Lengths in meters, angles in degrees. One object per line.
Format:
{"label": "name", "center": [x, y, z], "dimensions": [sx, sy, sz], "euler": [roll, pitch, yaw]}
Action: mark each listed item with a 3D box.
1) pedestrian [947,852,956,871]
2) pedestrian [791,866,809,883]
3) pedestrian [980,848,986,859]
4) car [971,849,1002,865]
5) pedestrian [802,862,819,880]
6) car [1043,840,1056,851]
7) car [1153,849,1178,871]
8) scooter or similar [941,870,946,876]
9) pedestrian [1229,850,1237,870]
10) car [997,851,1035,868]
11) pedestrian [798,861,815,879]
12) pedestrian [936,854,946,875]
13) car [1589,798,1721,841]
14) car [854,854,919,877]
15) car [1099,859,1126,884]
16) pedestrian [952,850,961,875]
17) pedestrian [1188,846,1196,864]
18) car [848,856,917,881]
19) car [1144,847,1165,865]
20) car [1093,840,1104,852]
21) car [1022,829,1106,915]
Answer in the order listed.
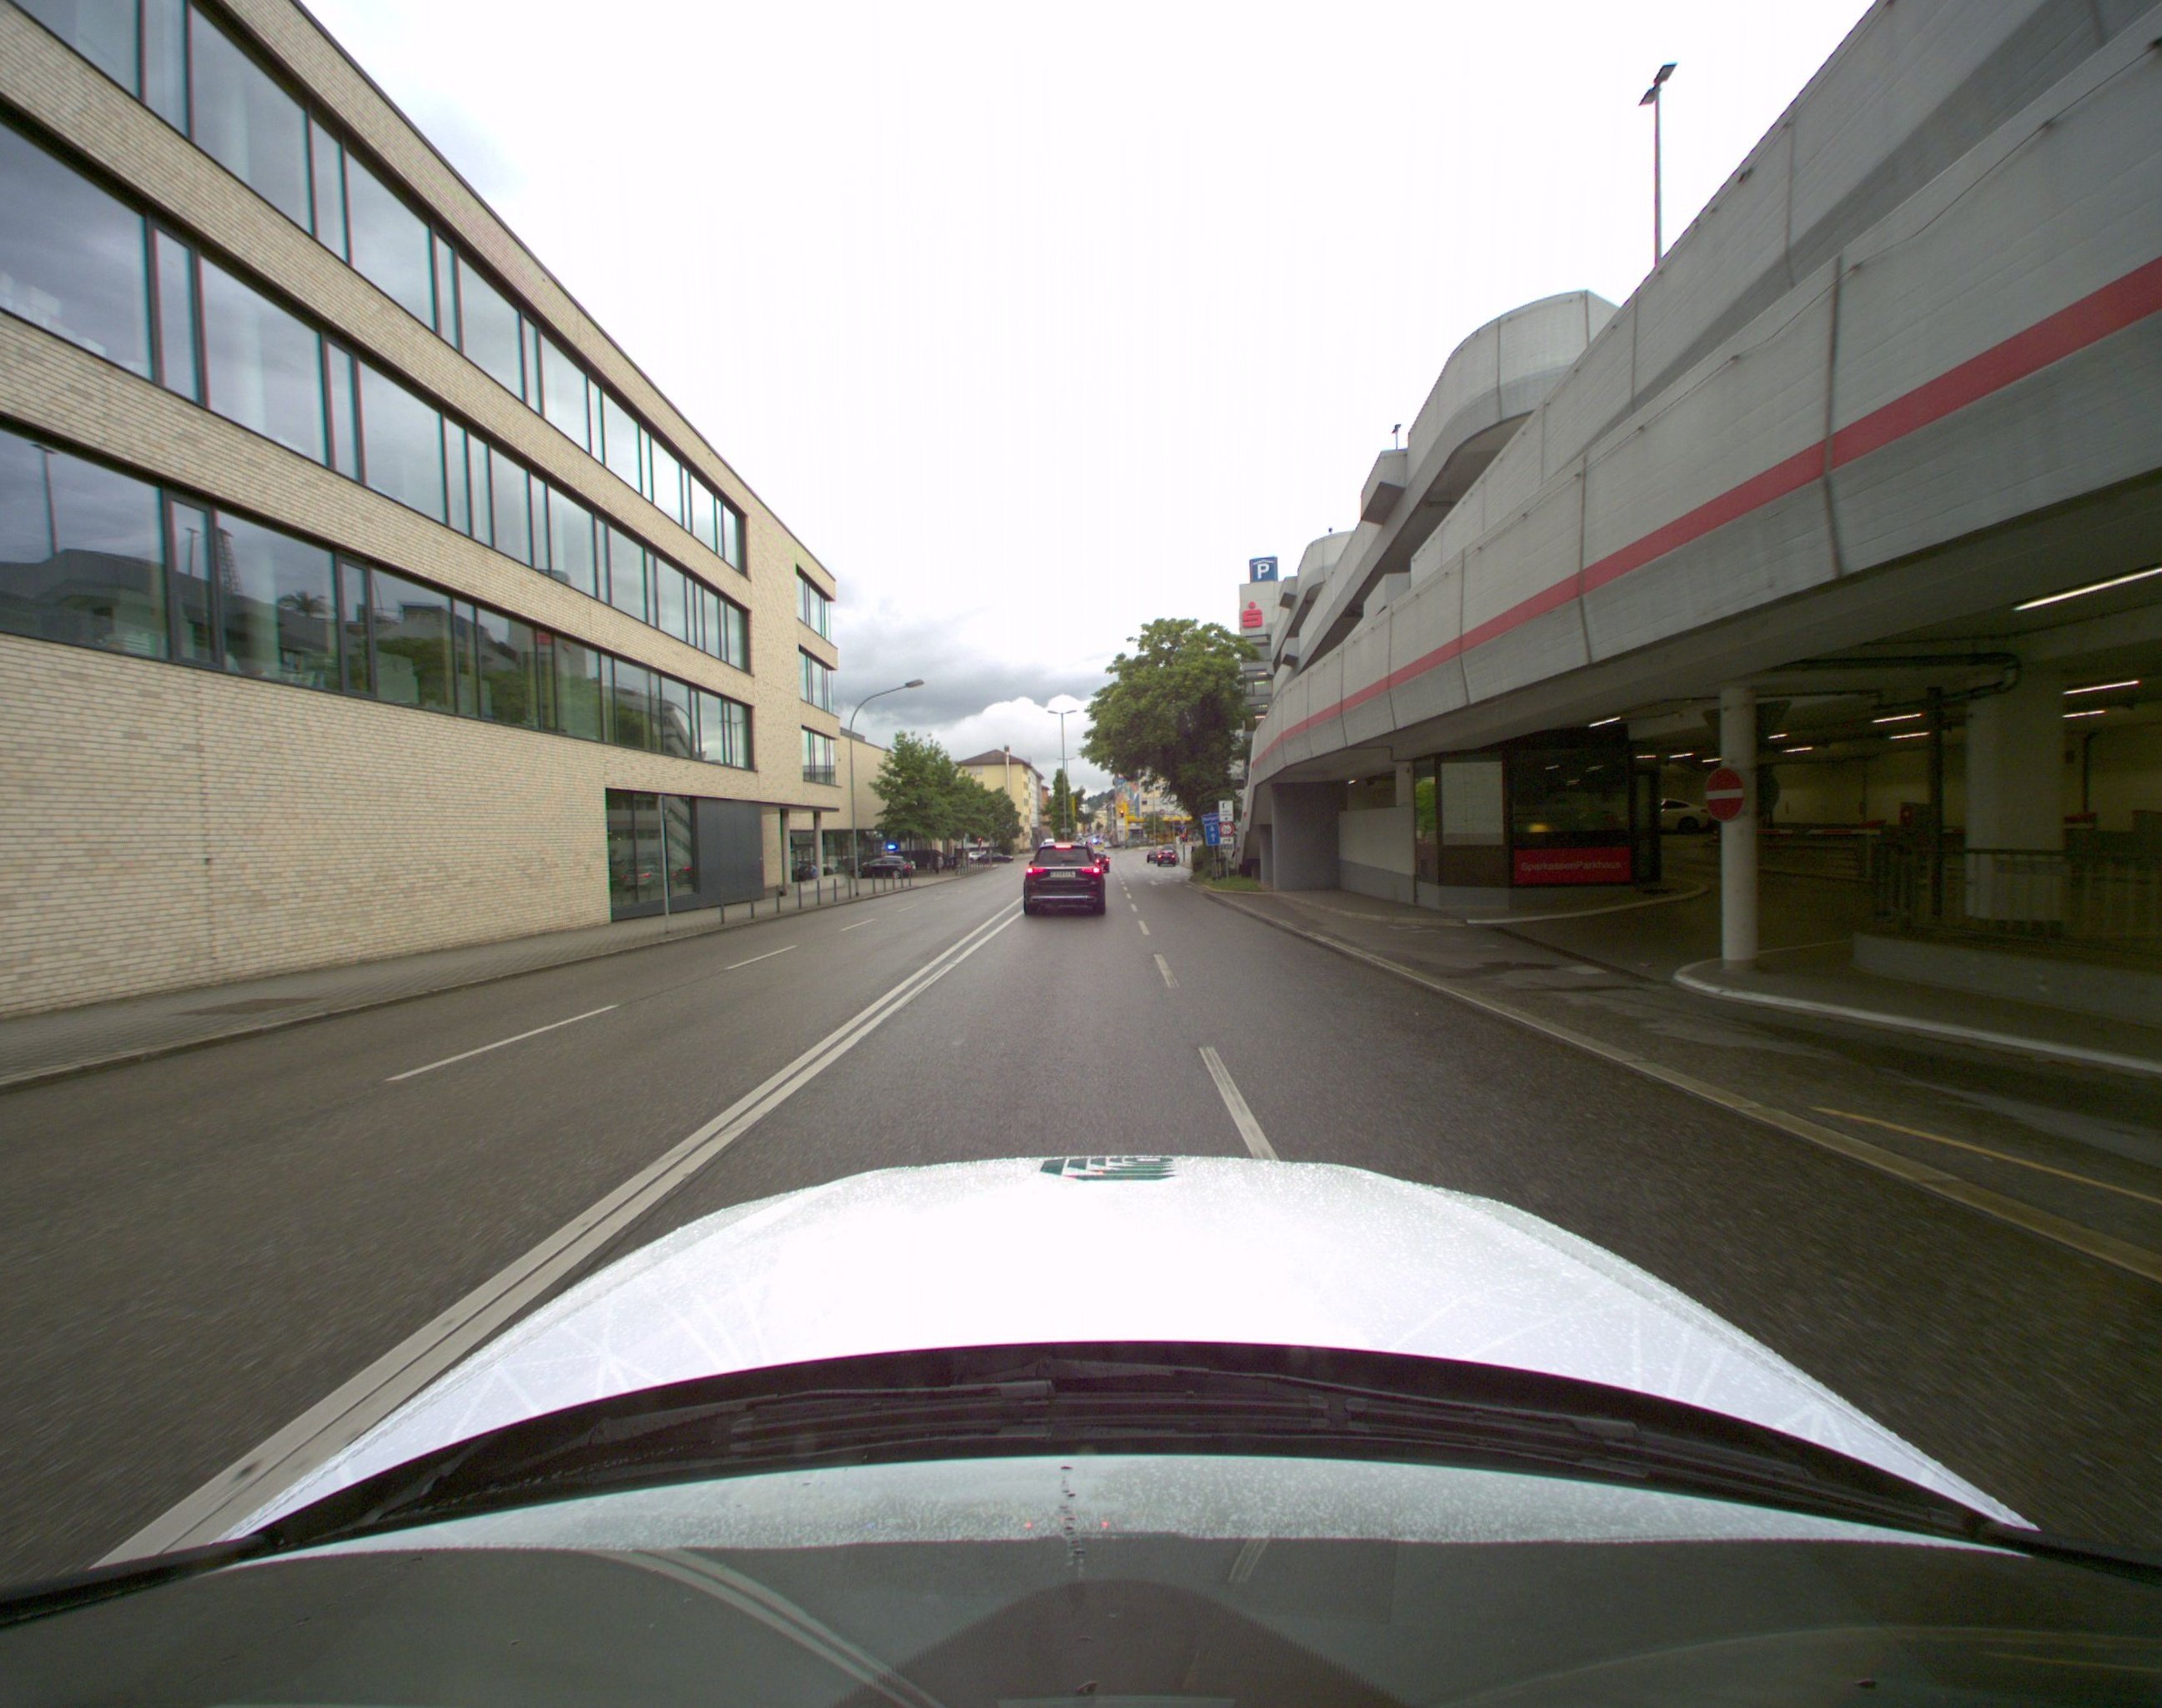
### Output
{"label": "pedestrian", "center": [-11.685, 0.707, 73.687], "dimensions": [0.686, 1.726, 0.754], "euler": [0, -2, 0]}
{"label": "pedestrian", "center": [-13.360, 0.988, 38.709], "dimensions": [0.595, 0.786, 0.760], "euler": [0, -1, 1]}
{"label": "pedestrian", "center": [-13.305, -0.091, 110.630], "dimensions": [0.709, 1.462, 0.598], "euler": [0, -1, 0]}
{"label": "car", "center": [-12.531, 0.368, 108.084], "dimensions": [3.988, 1.942, 1.993], "euler": [-1, 0, -11]}
{"label": "pedestrian", "center": [-13.212, 0.835, 39.791], "dimensions": [0.678, 0.886, 0.524], "euler": [0, -1, 1]}
{"label": "car", "center": [-5.537, -1.471, 143.240], "dimensions": [1.987, 1.875, 5.140], "euler": [0, -1, 0]}
{"label": "car", "center": [8.242, 0.544, 79.596], "dimensions": [1.987, 2.013, 3.999], "euler": [-1, 0, -1]}
{"label": "scooter or similar", "center": [-11.443, 1.557, 67.906], "dimensions": [0.279, 0.501, 0.616], "euler": [0, -1, 1]}
{"label": "pedestrian", "center": [11.460, 0.442, 61.369], "dimensions": [0.548, 1.532, 0.489], "euler": [0, -1, 7]}
{"label": "car", "center": [-8.317, 0.636, 104.222], "dimensions": [4.799, 2.013, 1.996], "euler": [-1, 0, -7]}
{"label": "pedestrian", "center": [-13.373, 0.760, 39.674], "dimensions": [0.584, 0.845, 0.727], "euler": [-1, -1, 1]}
{"label": "pedestrian", "center": [-11.636, 0.872, 67.674], "dimensions": [0.673, 1.697, 0.479], "euler": [1, 1, 0]}
{"label": "car", "center": [23.369, -1.377, 33.298], "dimensions": [3.962, 1.640, 2.006], "euler": [0, -1, 10]}
{"label": "car", "center": [-14.276, 0.838, 59.978], "dimensions": [4.408, 1.573, 1.998], "euler": [0, 2, -4]}
{"label": "car", "center": [2.198, 1.231, 57.997], "dimensions": [1.698, 1.716, 3.441], "euler": [0, -1, -2]}
{"label": "pedestrian", "center": [-10.259, 0.694, 67.248], "dimensions": [0.586, 2.014, 0.749], "euler": [0, -3, -1]}
{"label": "pedestrian", "center": [11.702, 0.128, 85.790], "dimensions": [0.657, 1.917, 0.731], "euler": [0, -1, 15]}
{"label": "car", "center": [-14.068, 1.006, 57.894], "dimensions": [4.461, 1.587, 1.996], "euler": [-1, 0, -5]}
{"label": "car", "center": [8.195, 0.265, 91.587], "dimensions": [1.987, 2.014, 3.999], "euler": [0, -1, 0]}
{"label": "car", "center": [3.006, -1.460, 140.690], "dimensions": [1.987, 2.013, 4.000], "euler": [0, 1, 0]}
{"label": "car", "center": [-0.393, 0.446, 21.268], "dimensions": [1.987, 2.014, 3.999], "euler": [0, -1, 0]}
